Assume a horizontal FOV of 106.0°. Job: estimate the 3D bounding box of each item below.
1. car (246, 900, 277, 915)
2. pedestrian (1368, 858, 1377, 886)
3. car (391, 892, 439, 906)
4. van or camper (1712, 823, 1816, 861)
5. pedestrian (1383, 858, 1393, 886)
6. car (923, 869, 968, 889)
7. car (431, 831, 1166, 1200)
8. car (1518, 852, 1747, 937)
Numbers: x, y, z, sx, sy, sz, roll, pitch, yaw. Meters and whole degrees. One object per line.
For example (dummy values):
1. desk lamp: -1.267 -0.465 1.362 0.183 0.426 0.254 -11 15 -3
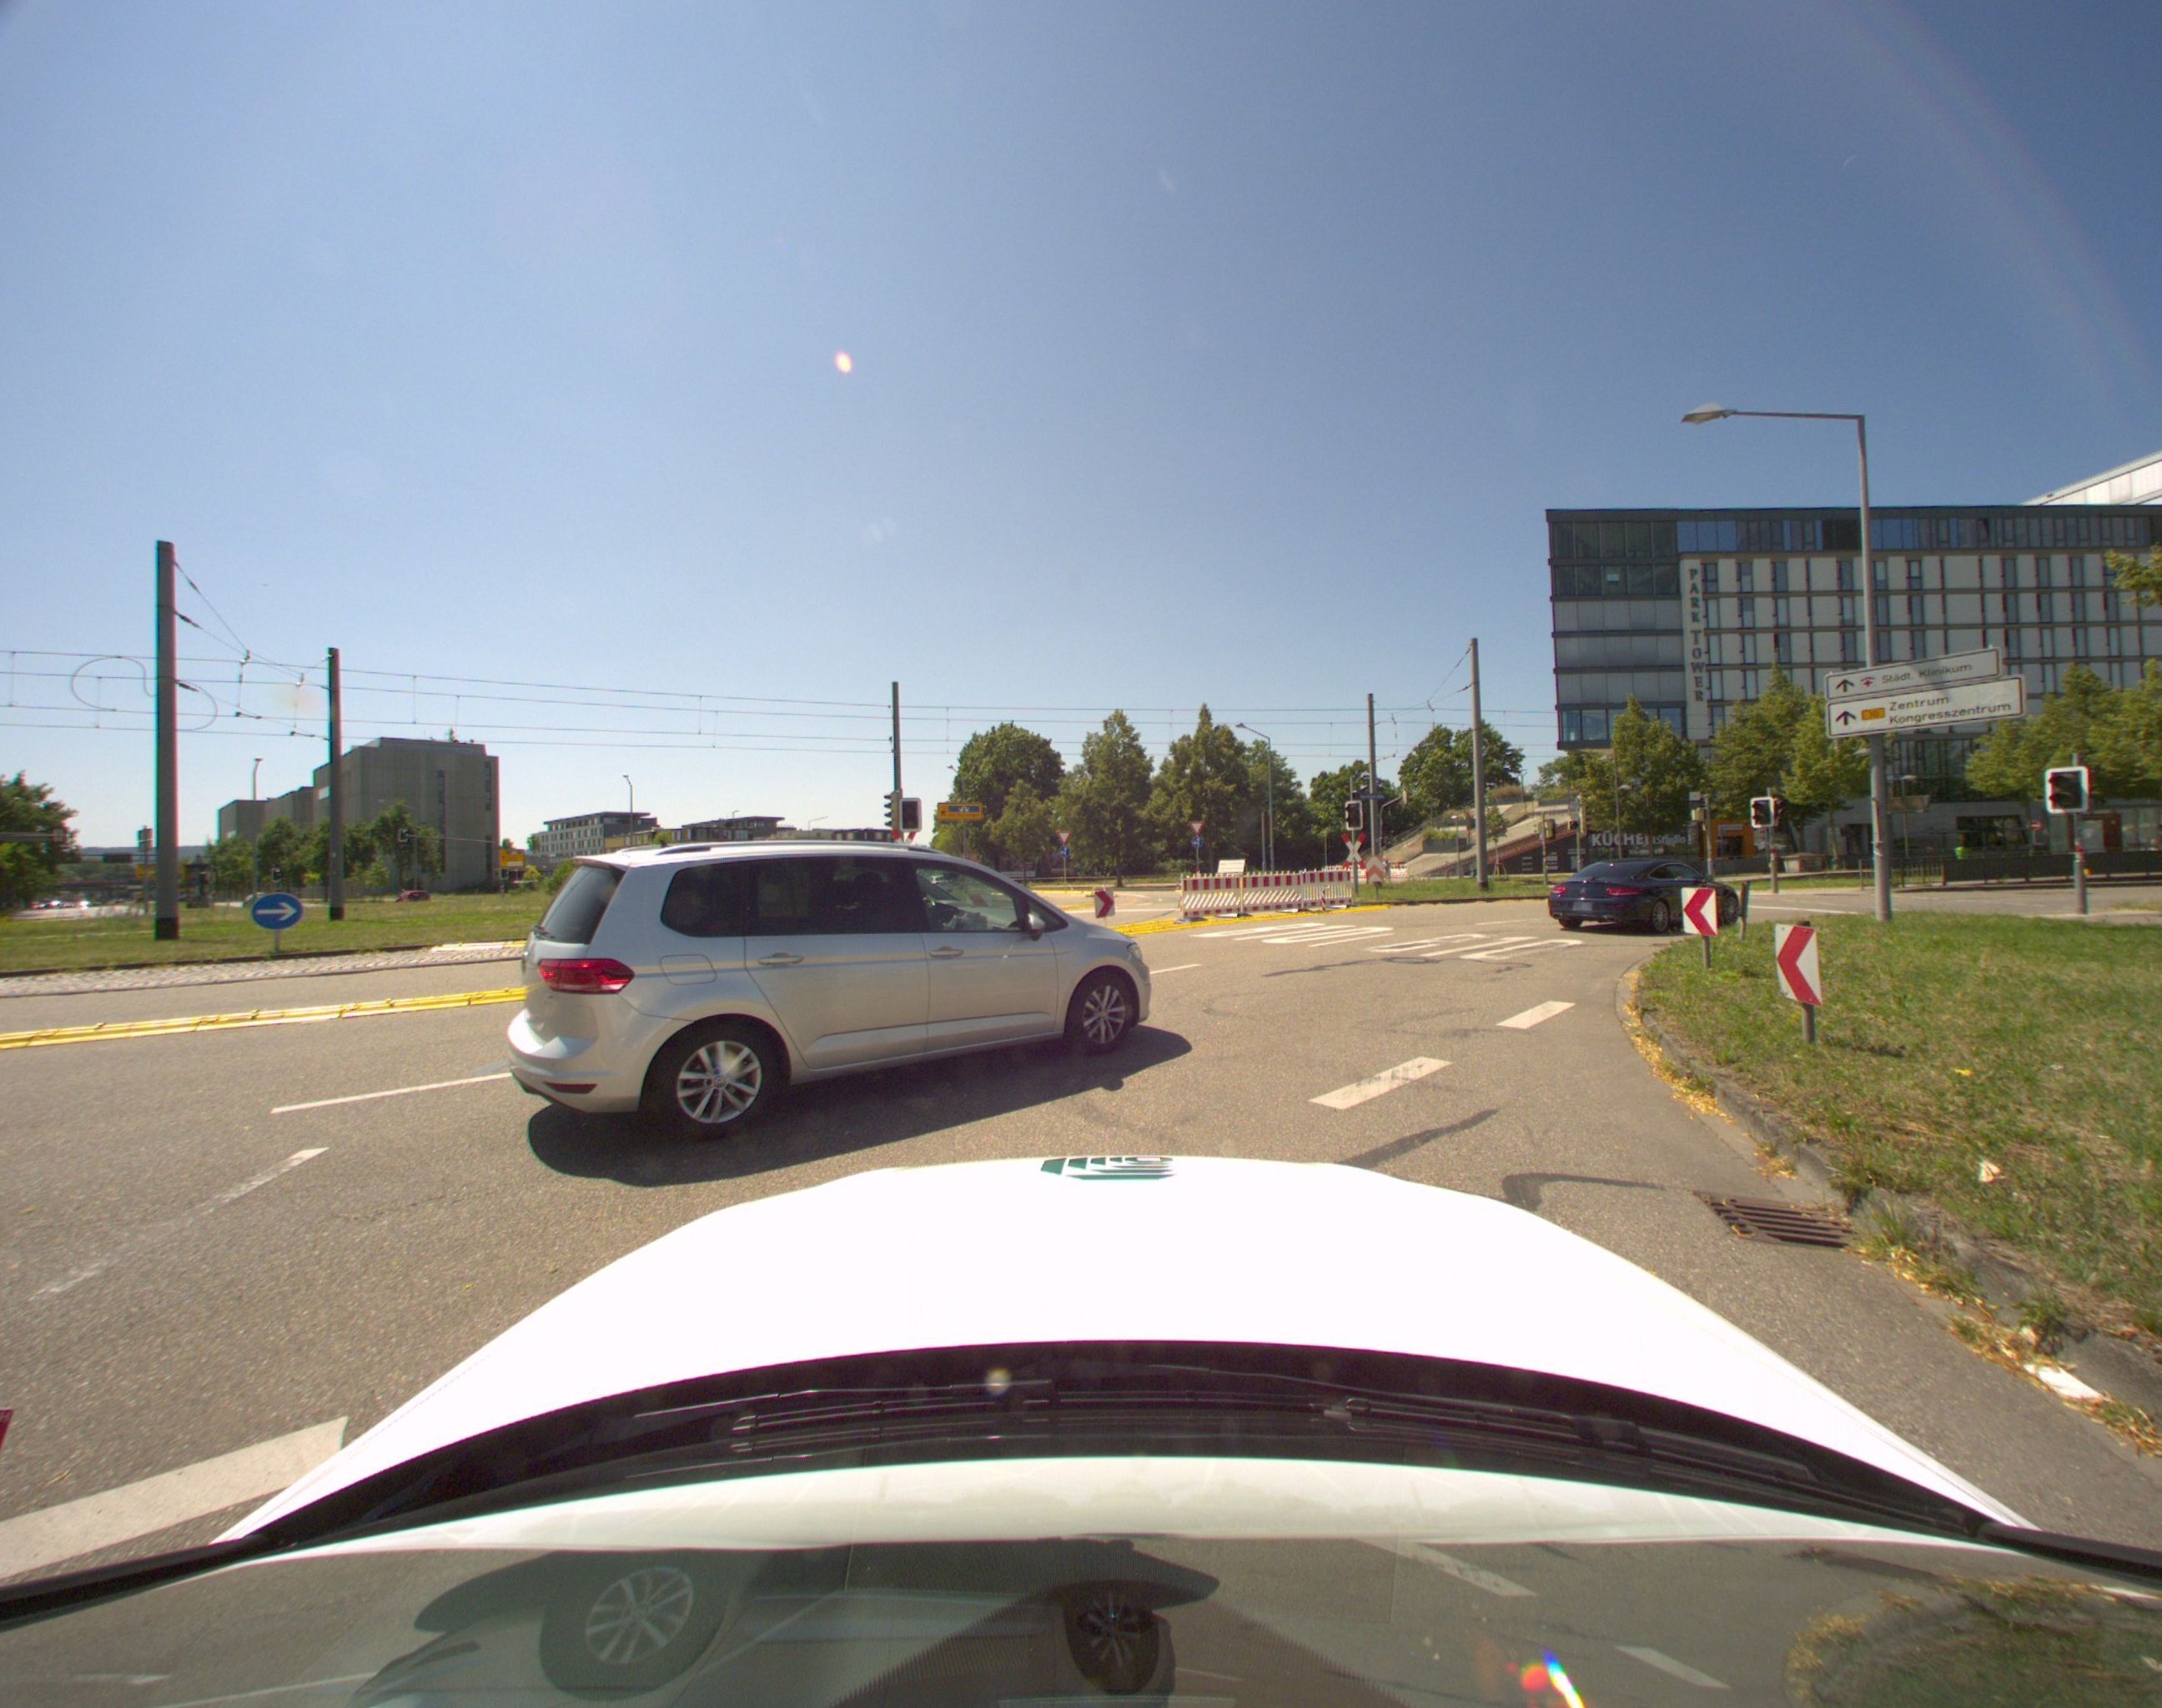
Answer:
1. car: -83.048 5.391 82.487 3.356 1.408 1.771 -2 -1 37
2. pedestrian: 18.009 1.111 50.326 0.447 1.739 0.291 -1 -1 -4
3. car: -57.203 3.884 69.936 3.480 1.090 1.505 -2 -1 18
4. van or camper: 55.622 -0.959 66.407 6.754 2.822 2.378 -1 -1 -6
5. pedestrian: 19.031 1.099 50.449 0.447 1.739 0.317 -1 -1 -4
6. car: -11.193 2.074 67.055 2.009 1.486 4.319 -1 -1 -35
7. car: -1.655 0.693 5.821 4.628 1.649 1.785 -1 0 -40
8. car: 10.988 0.711 16.128 4.971 1.436 1.839 0 -1 -31
